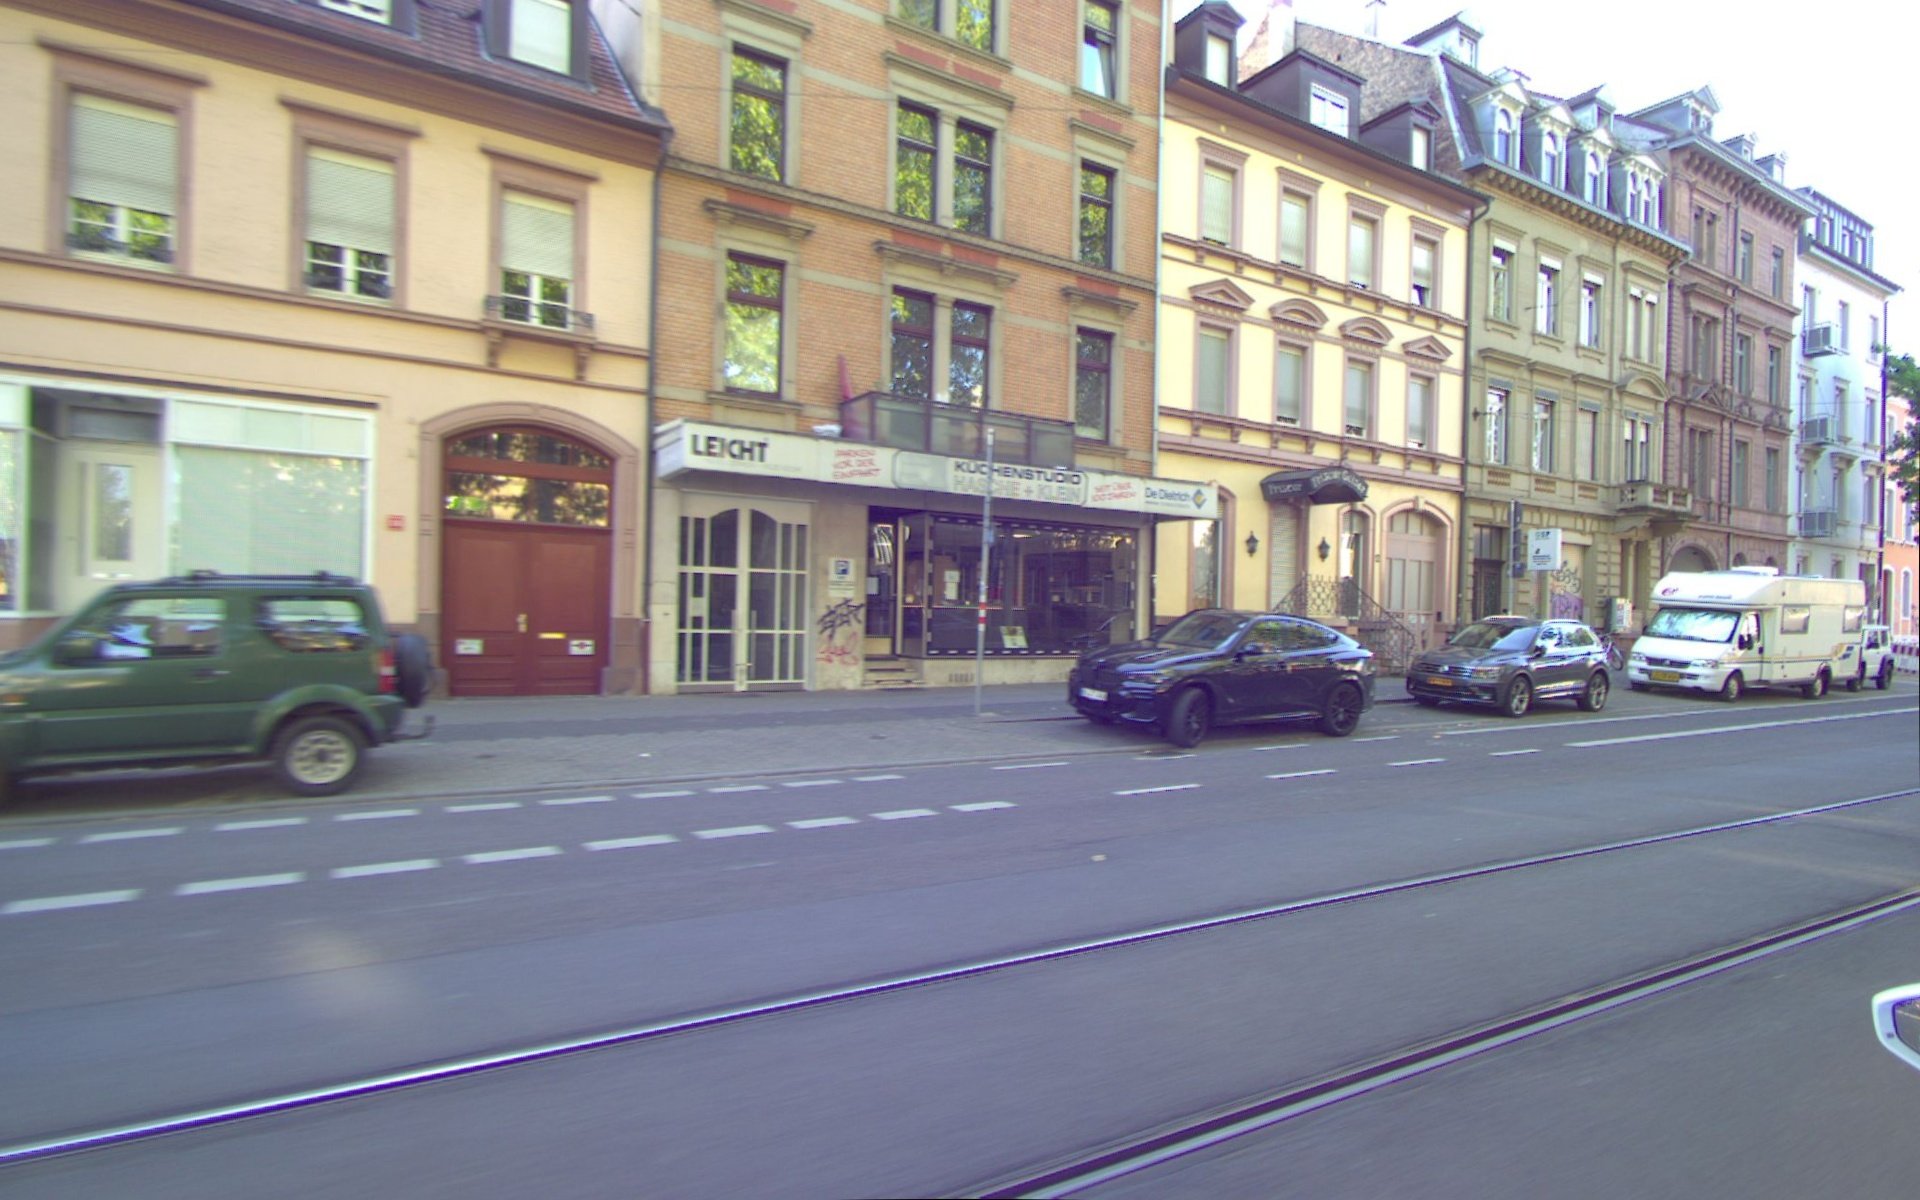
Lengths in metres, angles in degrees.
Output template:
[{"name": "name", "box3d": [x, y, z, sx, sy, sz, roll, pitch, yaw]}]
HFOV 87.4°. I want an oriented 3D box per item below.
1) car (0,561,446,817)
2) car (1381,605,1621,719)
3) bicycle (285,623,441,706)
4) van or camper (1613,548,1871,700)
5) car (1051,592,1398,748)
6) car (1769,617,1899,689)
[{"name": "car", "box3d": [-6.214, 0.612, 8.005, 3.645, 1.755, 1.547, 1, 1, -32]}, {"name": "car", "box3d": [9.984, 1.072, 18.463, 4.422, 1.805, 1.953, 2, 0, -33]}, {"name": "bicycle", "box3d": [-7.739, 0.831, 13.082, 1.703, 1.028, 0.297, 1, -1, -31]}, {"name": "van or camper", "box3d": [18.478, 0.564, 23.613, 7.028, 3.182, 2.206, 2, 1, -30]}, {"name": "car", "box3d": [3.842, 0.894, 14.290, 4.885, 1.805, 1.952, 1, 2, -33]}, {"name": "car", "box3d": [23.471, 1.397, 26.951, 3.743, 1.749, 1.632, 2, 1, -33]}]
